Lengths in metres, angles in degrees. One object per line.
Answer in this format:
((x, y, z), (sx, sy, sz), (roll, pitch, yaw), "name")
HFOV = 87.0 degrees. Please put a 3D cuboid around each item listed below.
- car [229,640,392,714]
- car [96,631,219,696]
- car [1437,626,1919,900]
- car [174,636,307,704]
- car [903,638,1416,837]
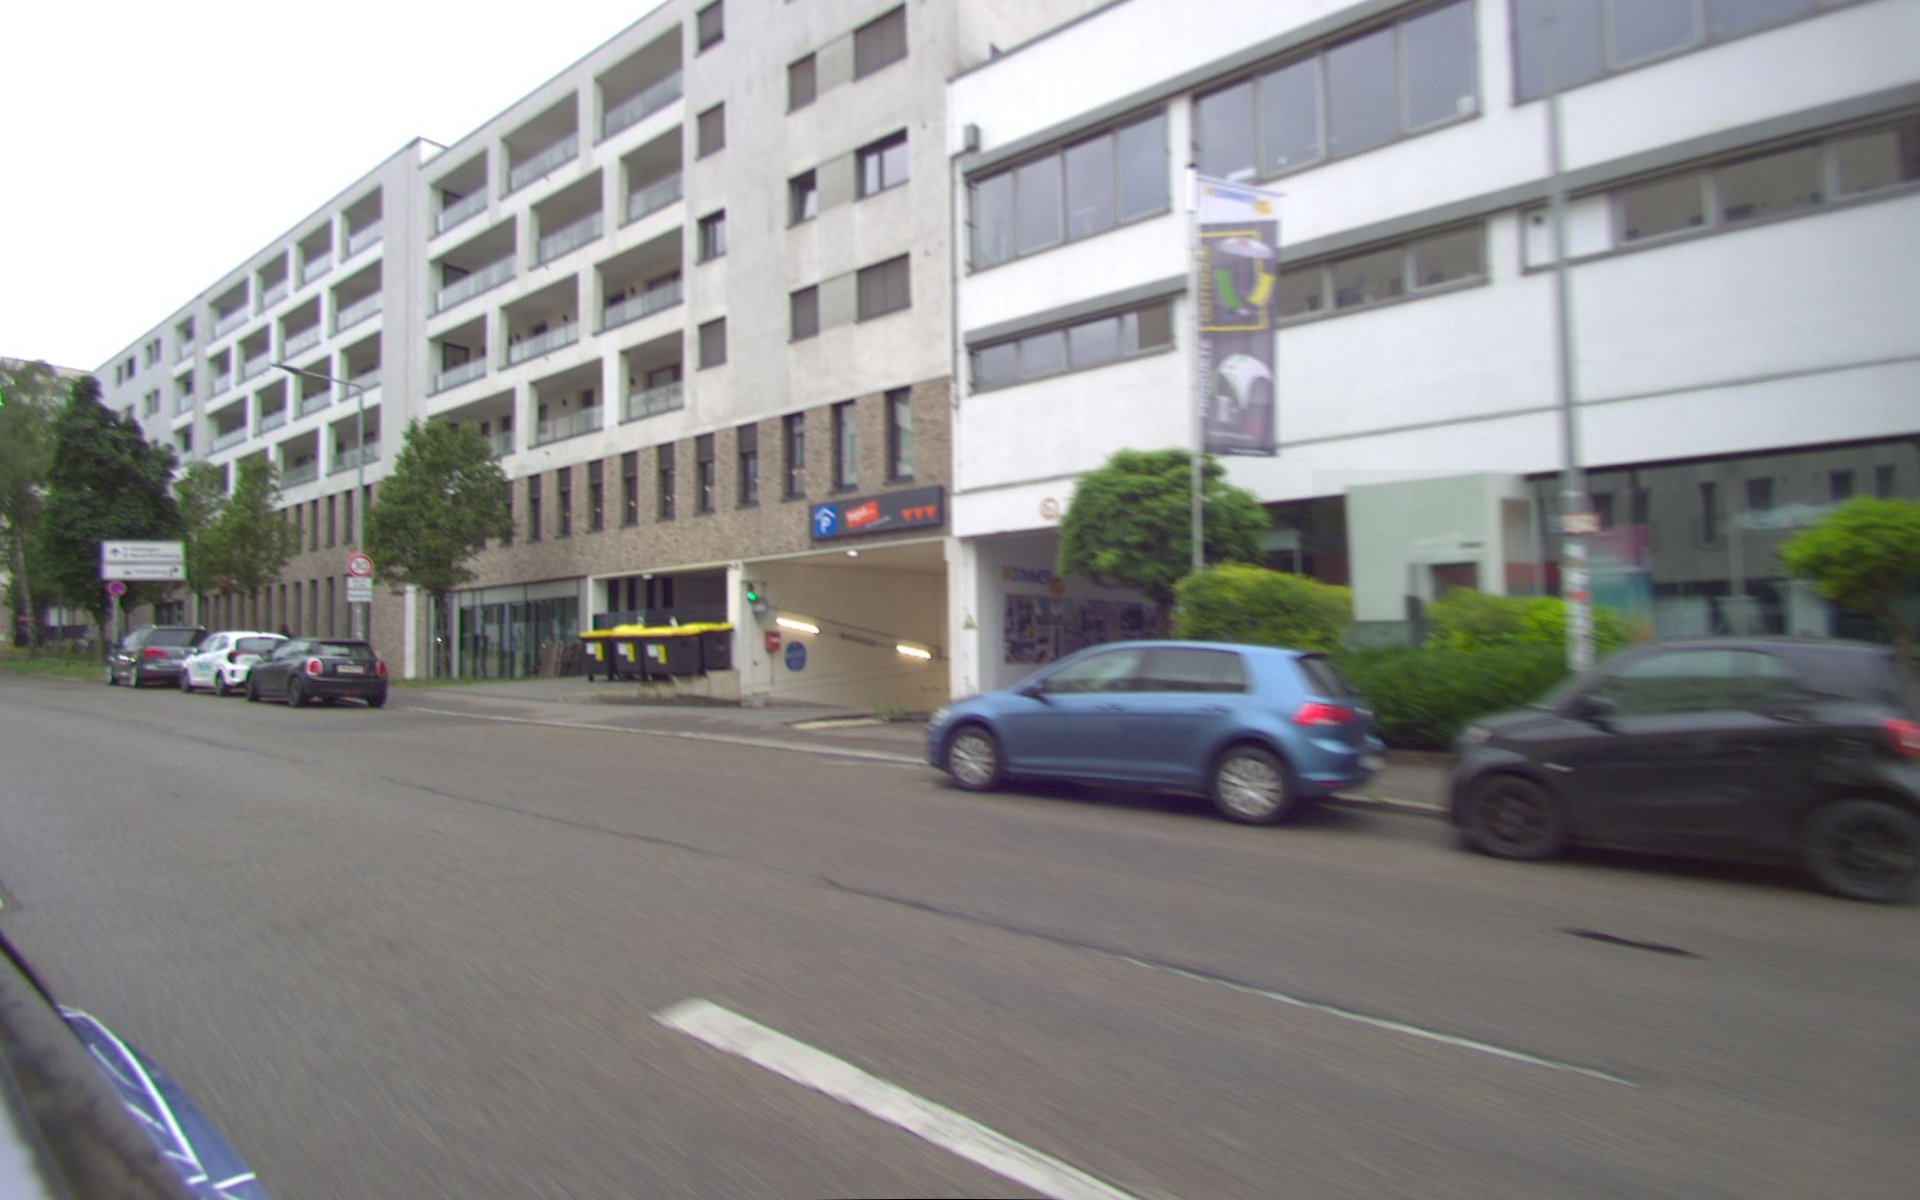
((-13.817, 1.598, 21.478), (3.732, 1.402, 1.643), (-1, -4, 36), "car")
((-21.630, 1.694, 27.244), (3.967, 1.630, 1.610), (-2, -6, 38), "car")
((4.954, 0.973, 6.816), (2.973, 1.521, 1.502), (-1, -5, 33), "car")
((-17.353, 1.672, 24.378), (3.416, 1.479, 1.578), (-1, -6, 37), "car")
((1.687, 1.086, 9.152), (4.257, 1.414, 1.642), (-1, -5, 33), "car")
